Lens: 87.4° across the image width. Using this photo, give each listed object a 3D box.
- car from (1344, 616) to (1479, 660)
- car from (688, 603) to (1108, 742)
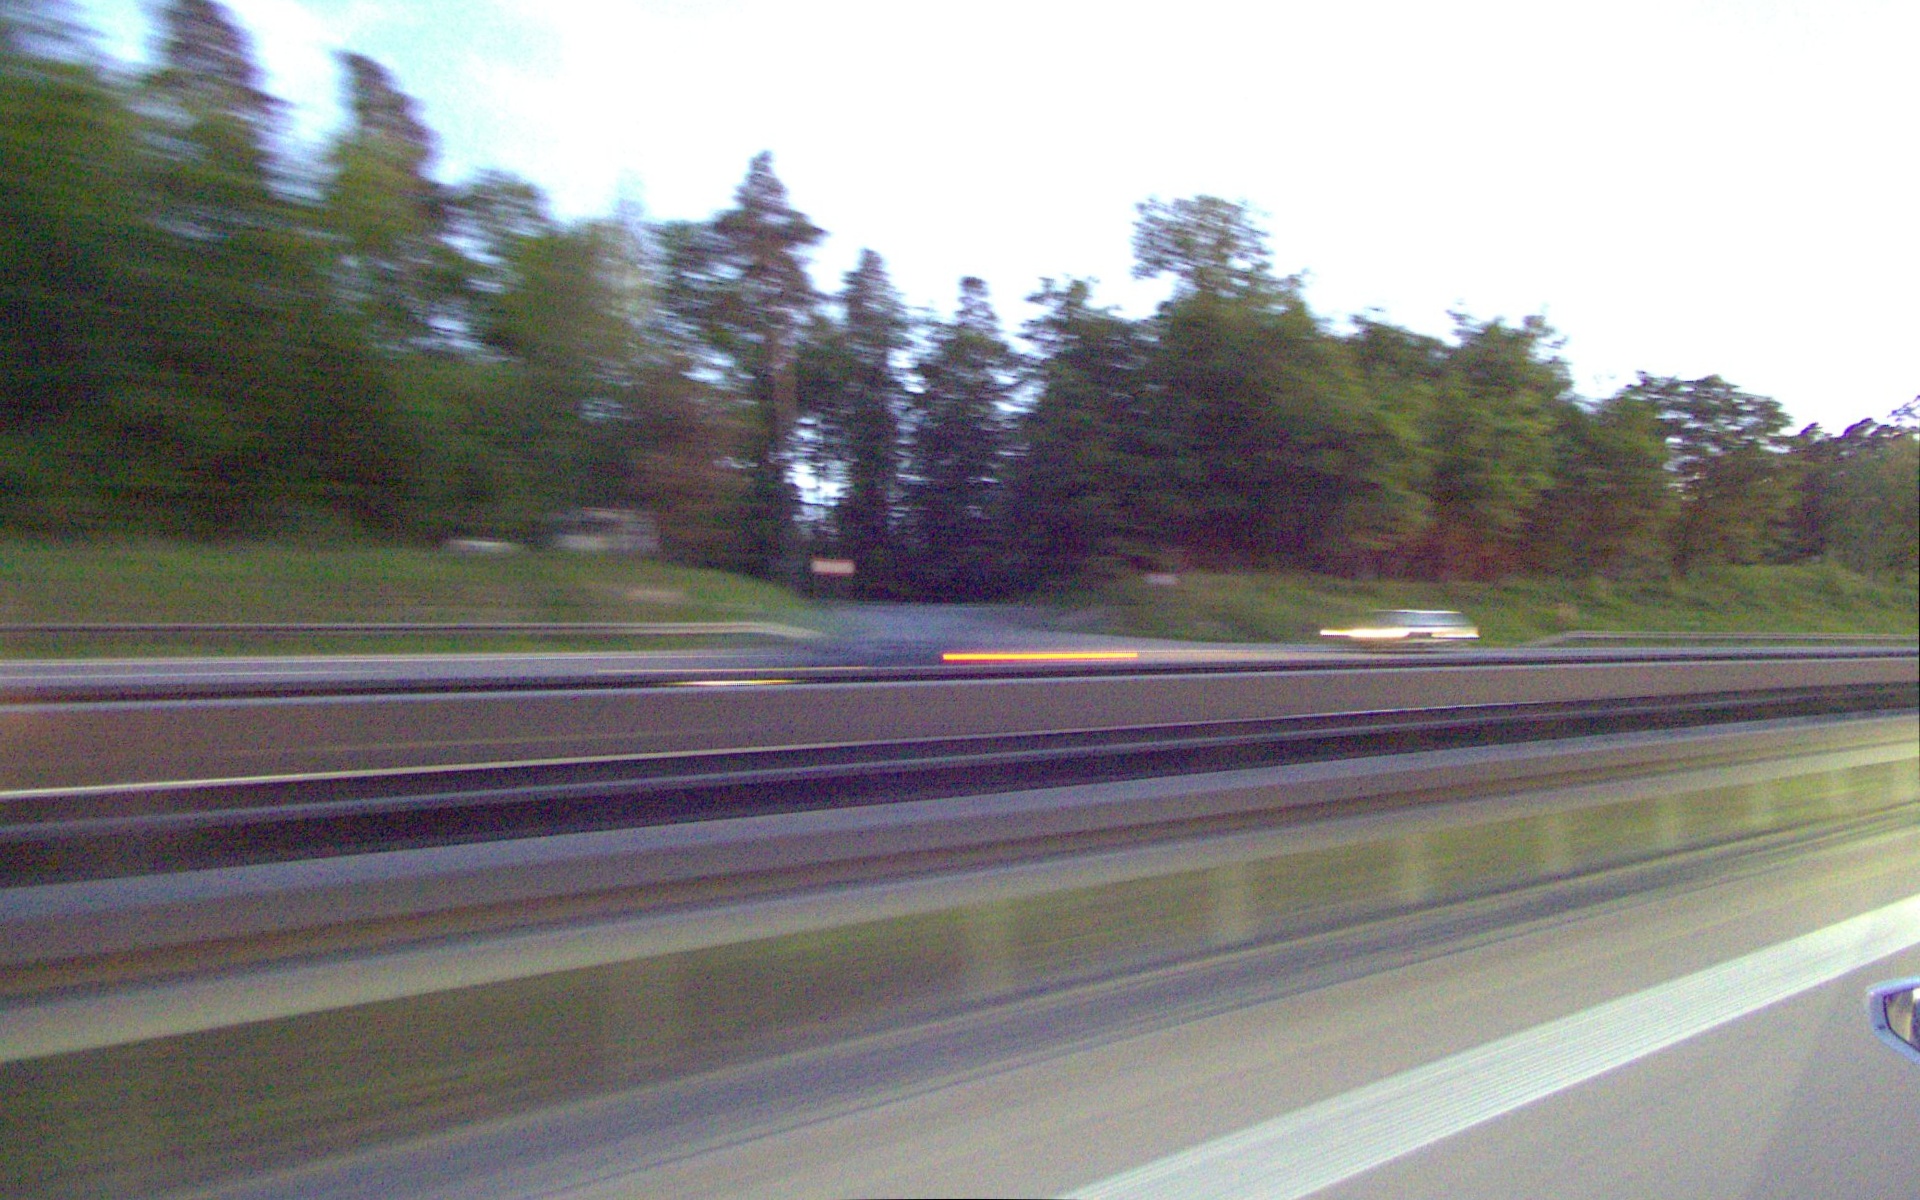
[{"bbox_3d":[15.781,1.327,35.051,4.850,1.399,1.806,1,0,-30],"label":"car"},{"bbox_3d":[-0.662,0.797,12.308,4.850,1.399,1.806,1,0,-30],"label":"car"}]
